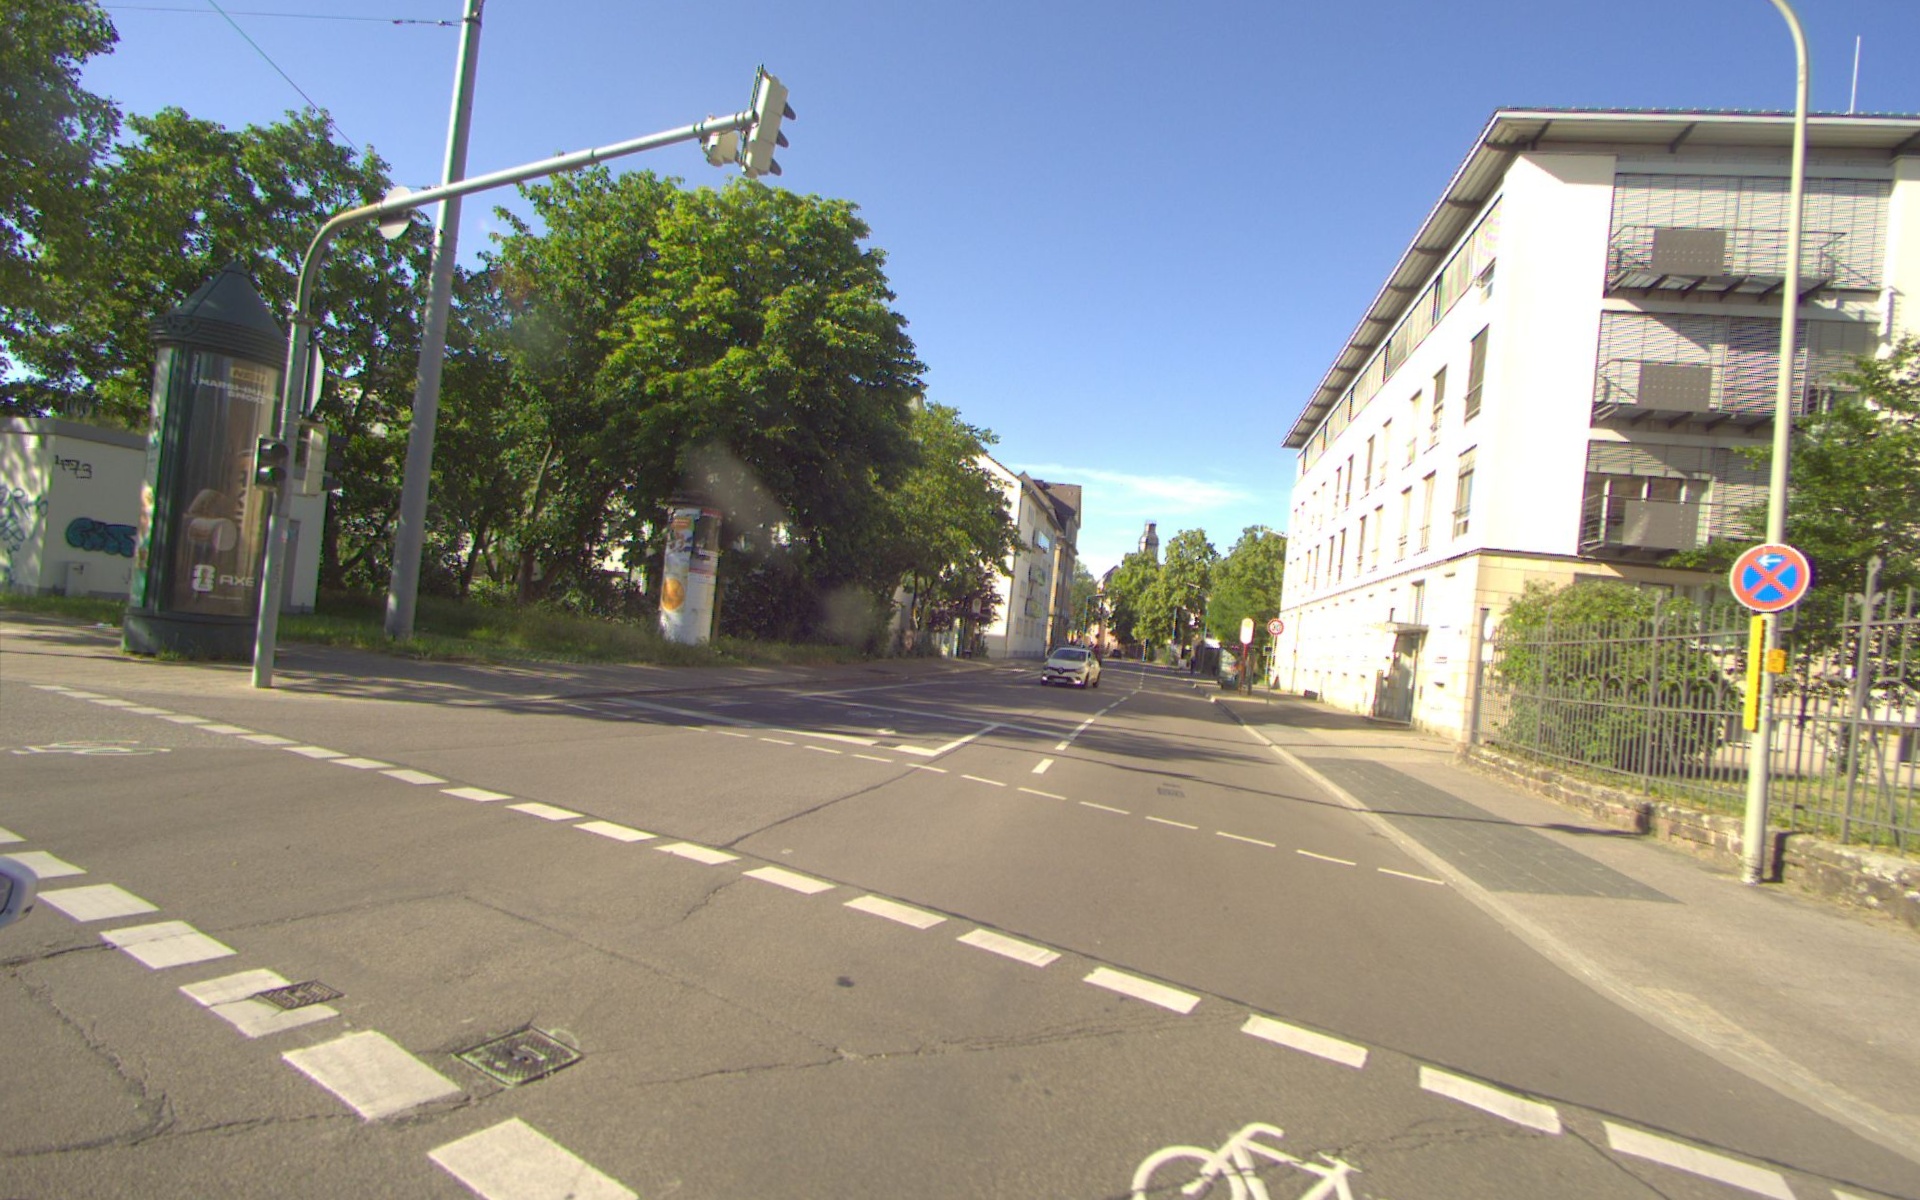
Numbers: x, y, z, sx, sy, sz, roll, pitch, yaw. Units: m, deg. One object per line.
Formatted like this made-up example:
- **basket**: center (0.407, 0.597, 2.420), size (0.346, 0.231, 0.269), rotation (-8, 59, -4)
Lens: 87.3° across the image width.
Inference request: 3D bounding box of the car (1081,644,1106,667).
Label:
- **car**: center (10.970, 4.527, 82.570), size (1.765, 1.672, 4.005), rotation (5, -2, 10)

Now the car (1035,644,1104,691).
- **car**: center (4.201, 2.563, 38.083), size (1.766, 1.485, 4.004), rotation (5, -2, 17)
